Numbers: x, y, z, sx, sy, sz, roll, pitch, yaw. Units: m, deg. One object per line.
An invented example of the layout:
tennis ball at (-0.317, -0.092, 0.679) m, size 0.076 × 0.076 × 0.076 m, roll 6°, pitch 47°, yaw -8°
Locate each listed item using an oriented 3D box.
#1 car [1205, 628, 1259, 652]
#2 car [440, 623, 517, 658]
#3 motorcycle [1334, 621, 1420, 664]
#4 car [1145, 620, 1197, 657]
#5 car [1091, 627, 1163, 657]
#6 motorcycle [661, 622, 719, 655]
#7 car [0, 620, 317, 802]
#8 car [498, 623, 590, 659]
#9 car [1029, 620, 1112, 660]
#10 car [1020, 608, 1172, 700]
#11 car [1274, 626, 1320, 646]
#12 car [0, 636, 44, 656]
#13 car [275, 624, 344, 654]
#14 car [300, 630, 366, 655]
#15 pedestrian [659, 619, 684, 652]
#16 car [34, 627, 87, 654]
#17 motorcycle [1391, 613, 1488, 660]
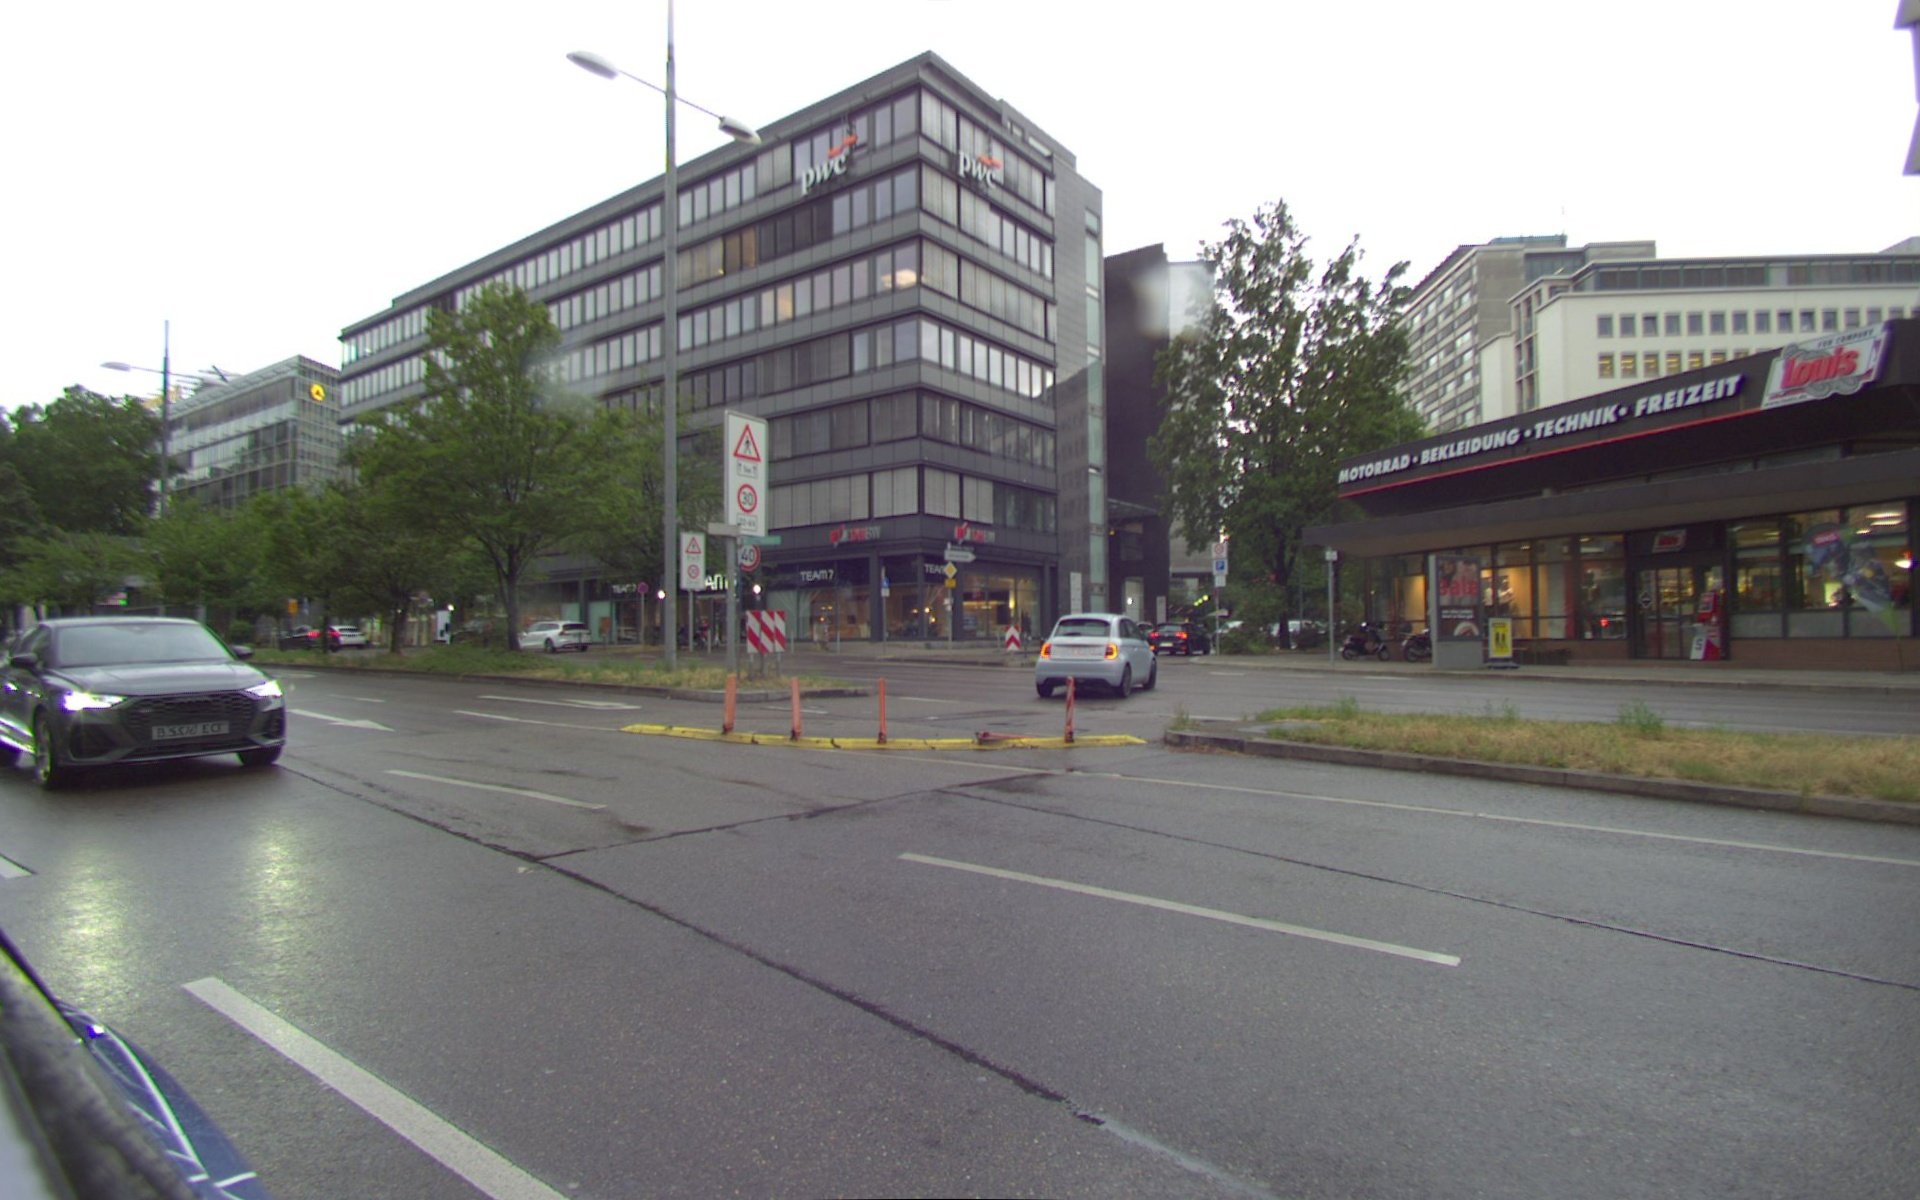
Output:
car at (16.477, 2.386, 61.155) m, size 1.844 × 1.298 × 3.951 m, roll -1°, pitch -1°, yaw 36°
car at (-24.372, 2.030, 51.148) m, size 4.304 × 1.673 × 1.791 m, roll -2°, pitch -1°, yaw 39°
motorcycle at (14.010, 1.408, 33.996) m, size 2.773 × 1.343 × 0.725 m, roll -1°, pitch -1°, yaw -15°
car at (9.027, 1.621, 43.607) m, size 1.823 × 1.462 × 4.677 m, roll -1°, pitch -1°, yaw 7°
car at (8.107, 1.981, 48.902) m, size 1.844 × 1.298 × 3.950 m, roll -1°, pitch -1°, yaw 37°
motorcycle at (-11.926, 1.690, 44.709) m, size 2.344 × 1.404 × 0.857 m, roll -1°, pitch 2°, yaw 11°
car at (-8.377, 0.953, 10.197) m, size 4.282 × 1.446 × 1.917 m, roll -2°, pitch -2°, yaw 38°
car at (-19.516, 1.912, 47.398) m, size 4.765 × 1.496 × 1.792 m, roll -2°, pitch 1°, yaw 37°
car at (4.981, 1.750, 45.296) m, size 1.996 × 1.652 × 3.950 m, roll -1°, pitch -1°, yaw 37°
car at (2.703, 0.978, 19.420) m, size 1.780 × 1.585 × 3.657 m, roll -1°, pitch -2°, yaw 27°
car at (23.450, 2.471, 70.381) m, size 1.844 × 1.298 × 3.950 m, roll -1°, pitch -1°, yaw 37°
car at (-70.104, 3.425, 75.628) m, size 4.074 × 1.442 × 1.668 m, roll -2°, pitch -1°, yaw 36°
car at (-35.488, 2.111, 55.145) m, size 4.480 × 1.556 × 1.973 m, roll -2°, pitch -2°, yaw 41°
car at (-37.722, 2.547, 60.852) m, size 4.298 × 1.455 × 1.794 m, roll -2°, pitch -1°, yaw 34°
pedestrian at (-14.460, 1.789, 50.697) m, size 0.964 × 1.650 × 0.776 m, roll -2°, pitch -2°, yaw 37°
car at (-62.858, 2.835, 70.700) m, size 4.483 × 1.741 × 1.722 m, roll -2°, pitch -1°, yaw 35°
motorcycle at (14.718, 1.105, 31.066) m, size 2.843 × 1.384 × 0.806 m, roll -1°, pitch -1°, yaw -16°
